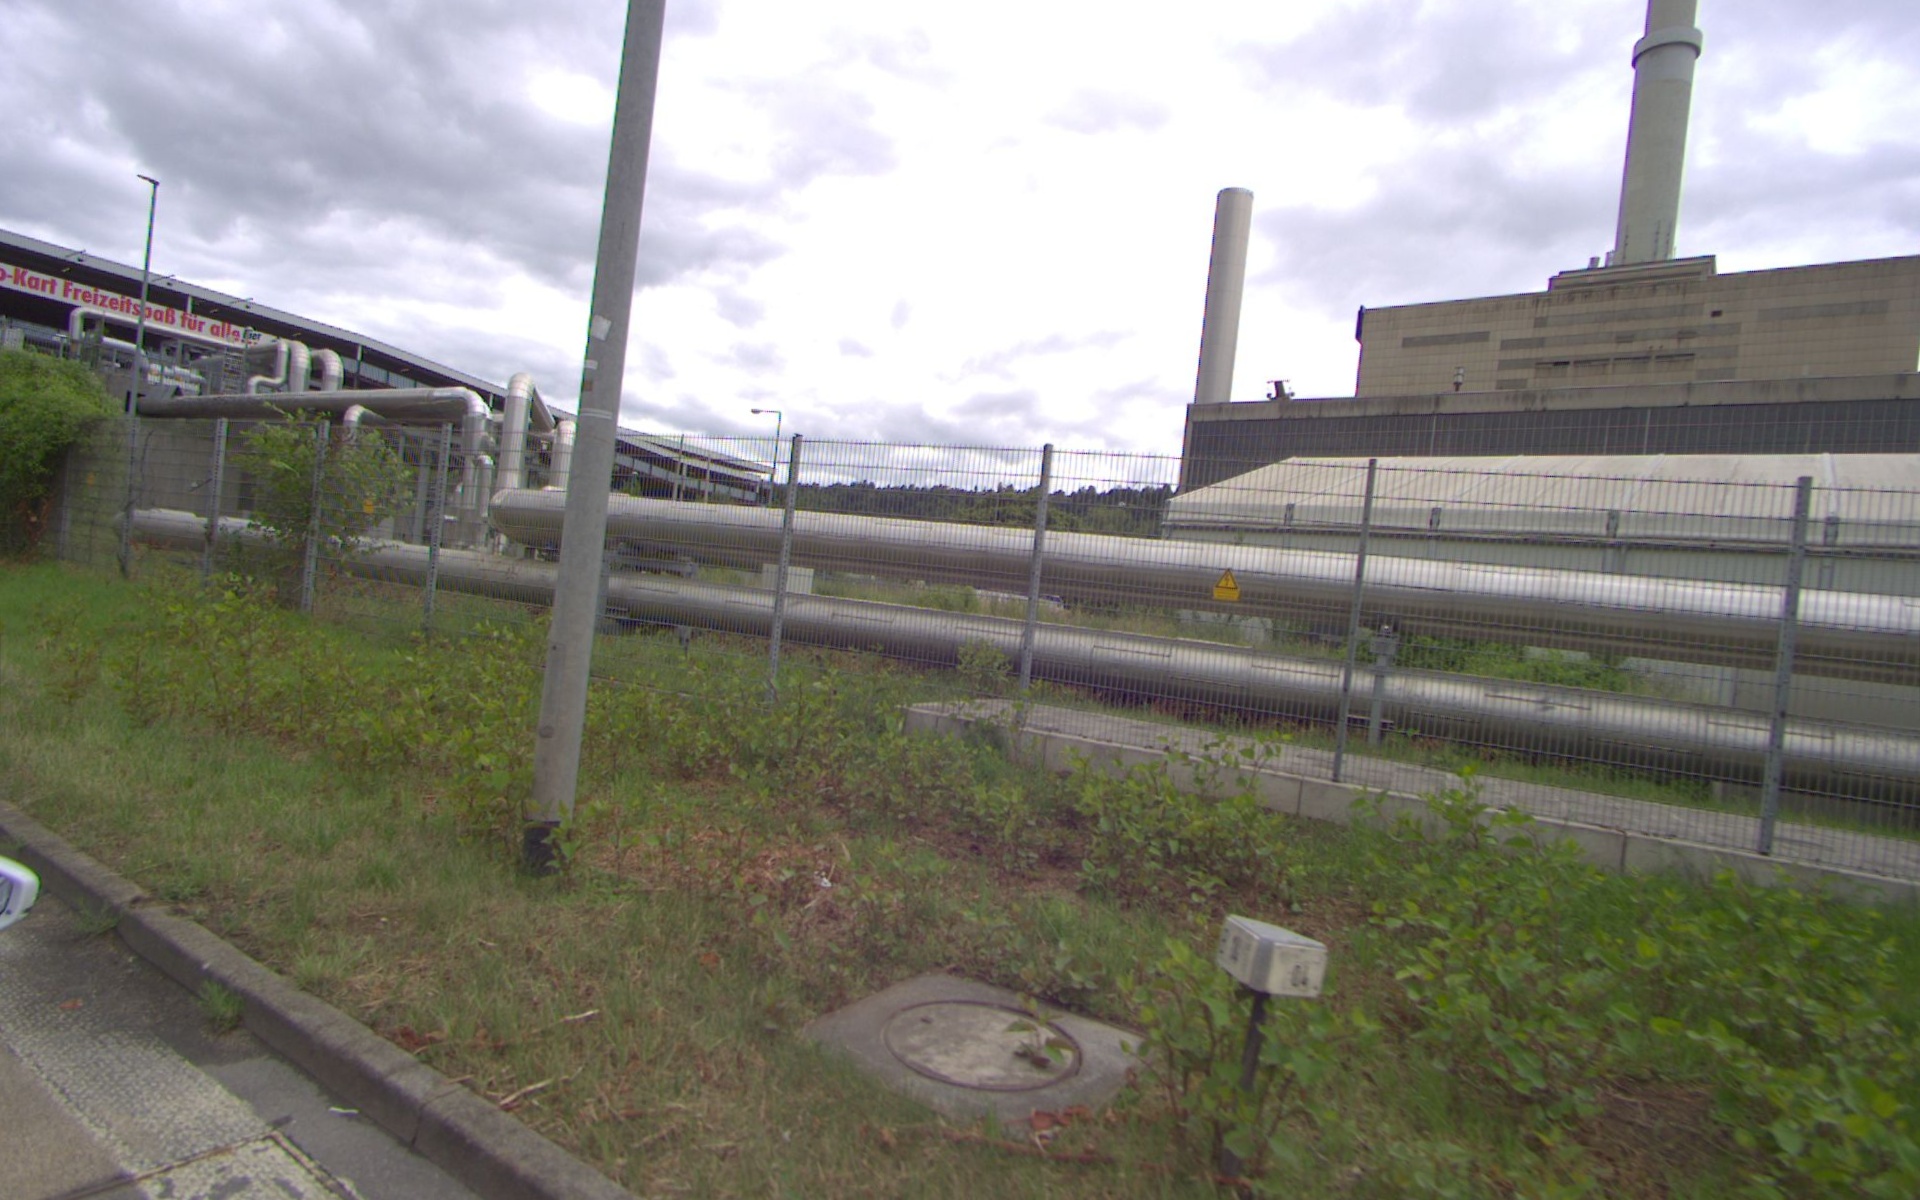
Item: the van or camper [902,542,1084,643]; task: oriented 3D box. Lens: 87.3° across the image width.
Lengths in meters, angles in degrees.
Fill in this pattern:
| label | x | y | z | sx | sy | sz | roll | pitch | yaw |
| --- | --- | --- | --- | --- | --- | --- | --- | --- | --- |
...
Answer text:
| label | x | y | z | sx | sy | sz | roll | pitch | yaw |
| --- | --- | --- | --- | --- | --- | --- | --- | --- | --- |
| van or camper | 1.205 | -0.170 | 32.764 | 2.539 | 2.579 | 6.100 | 6 | -1 | 40 |
